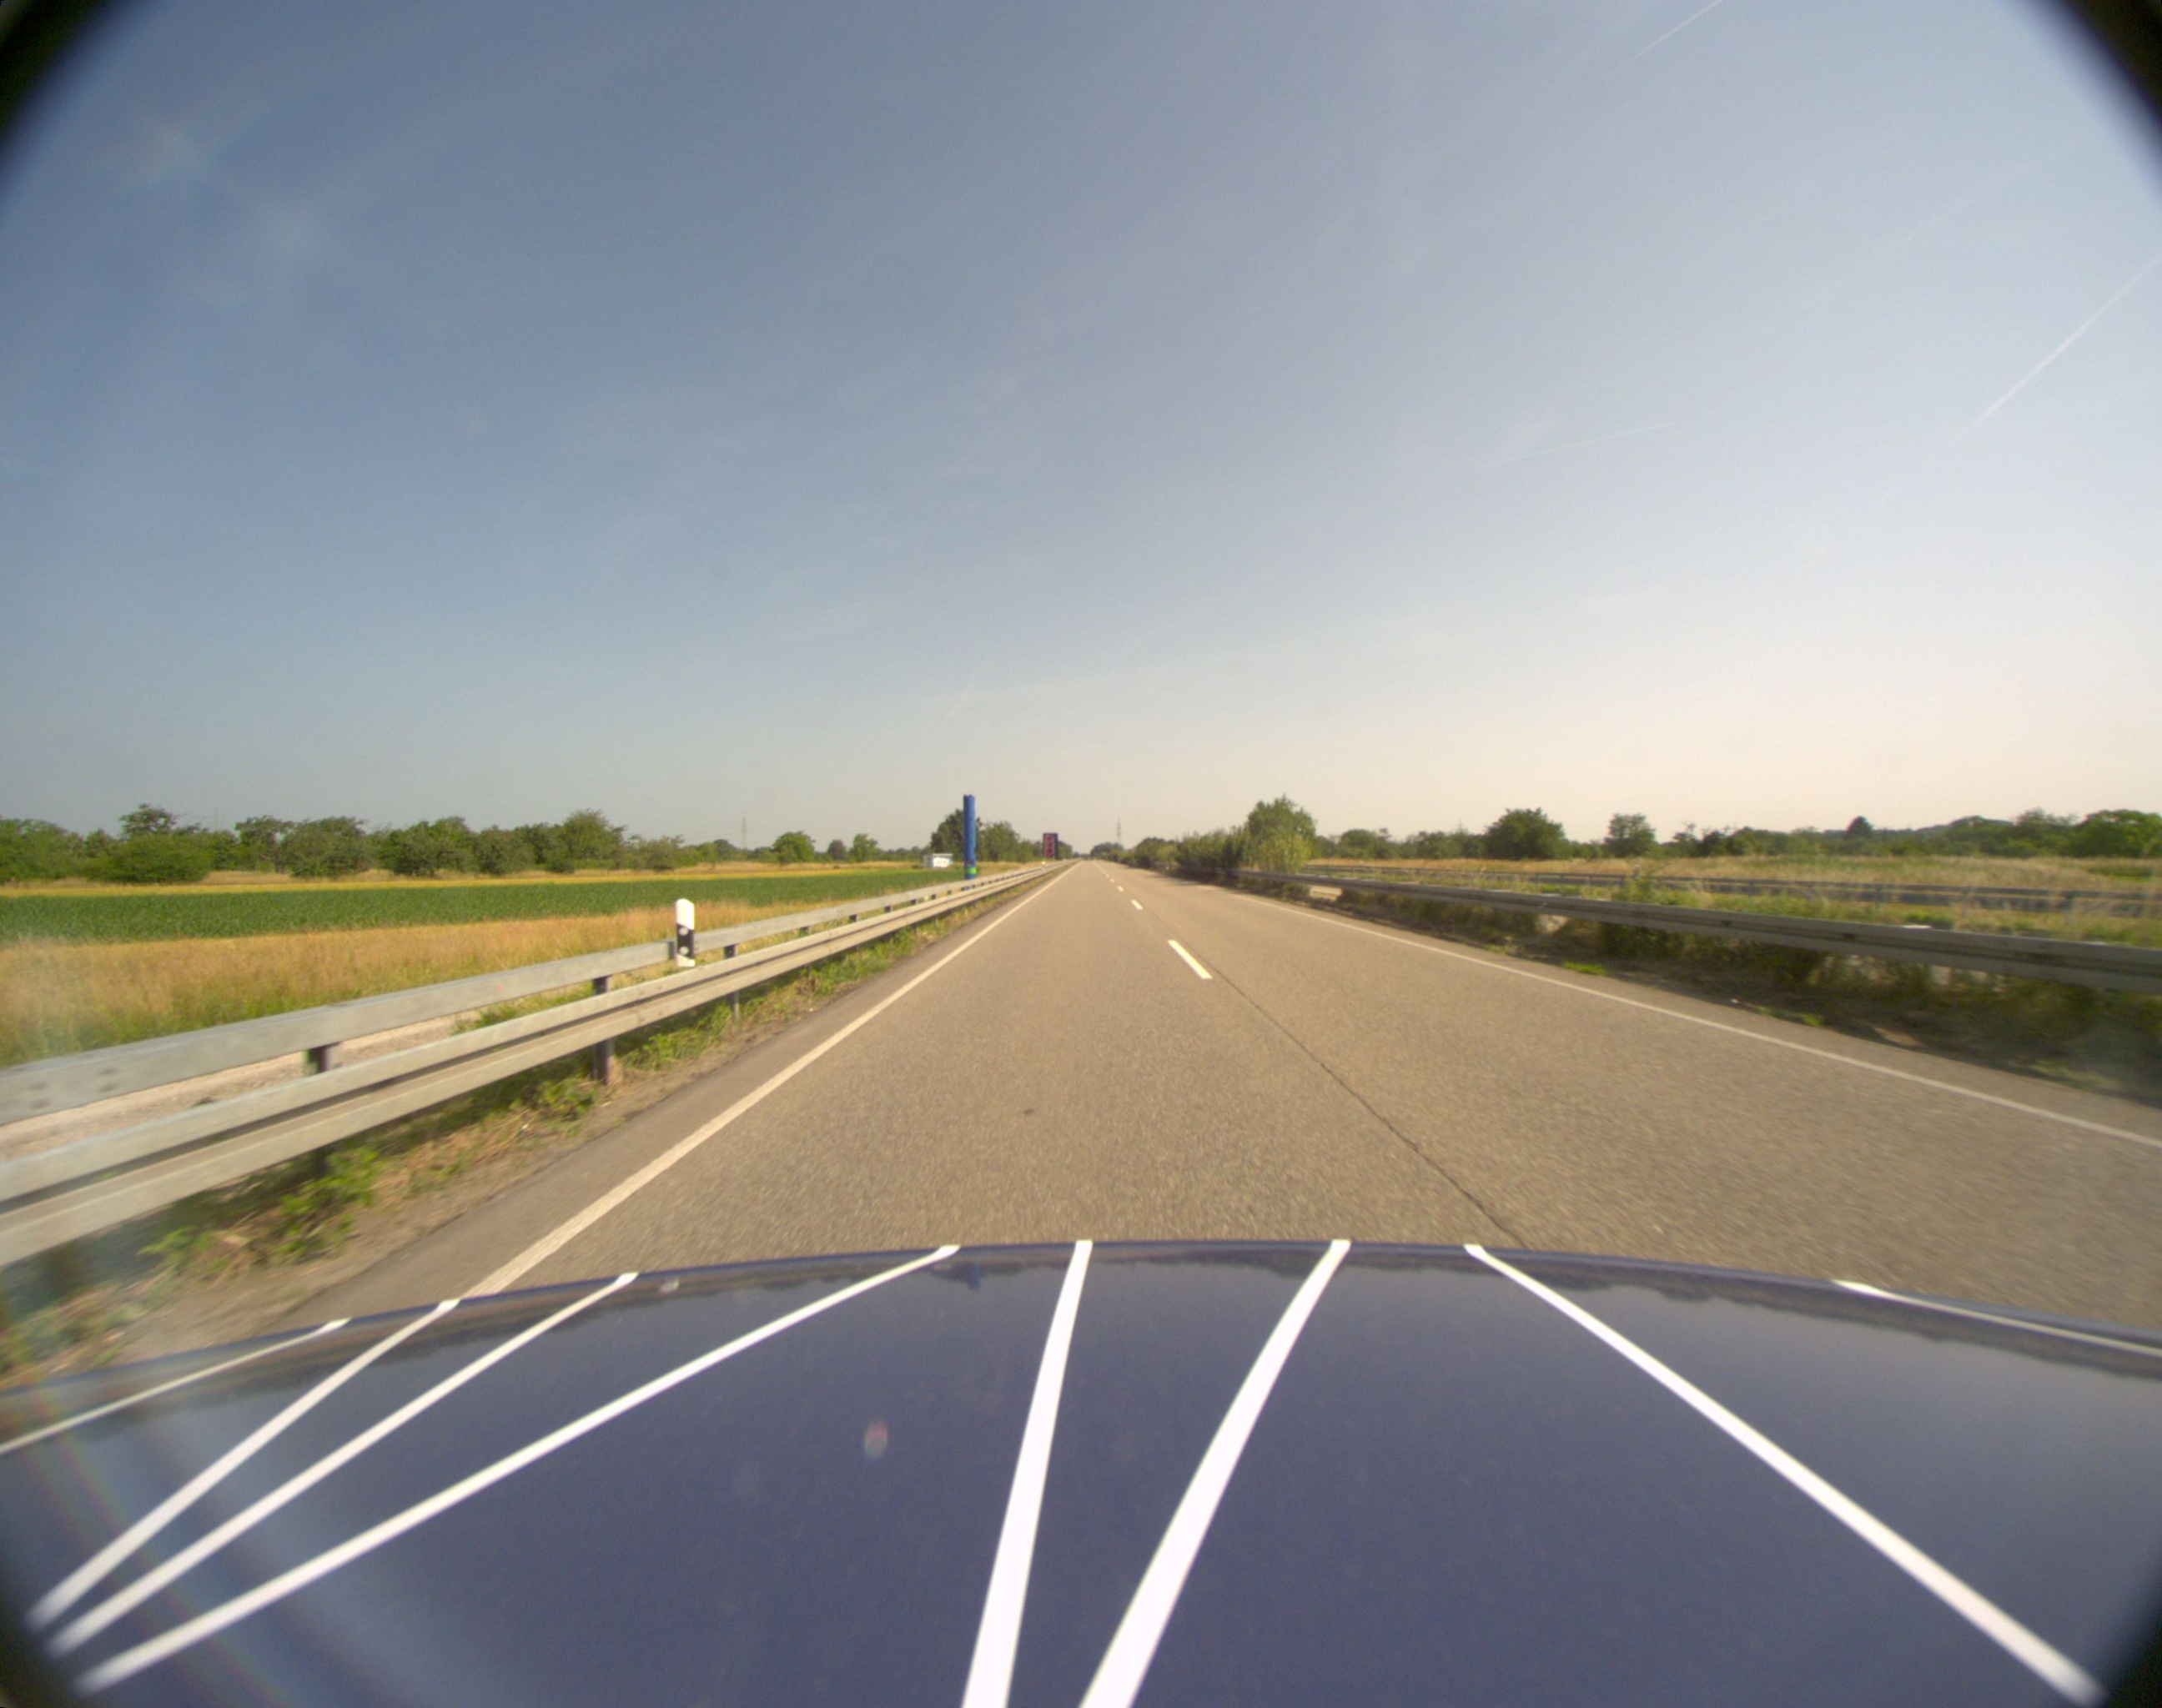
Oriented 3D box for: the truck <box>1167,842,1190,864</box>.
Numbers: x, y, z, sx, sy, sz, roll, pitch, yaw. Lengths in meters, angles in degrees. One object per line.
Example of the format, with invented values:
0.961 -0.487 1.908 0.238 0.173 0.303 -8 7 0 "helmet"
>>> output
16.314 -0.229 127.683 2.609 3.568 10.385 -1 0 1 "truck"
